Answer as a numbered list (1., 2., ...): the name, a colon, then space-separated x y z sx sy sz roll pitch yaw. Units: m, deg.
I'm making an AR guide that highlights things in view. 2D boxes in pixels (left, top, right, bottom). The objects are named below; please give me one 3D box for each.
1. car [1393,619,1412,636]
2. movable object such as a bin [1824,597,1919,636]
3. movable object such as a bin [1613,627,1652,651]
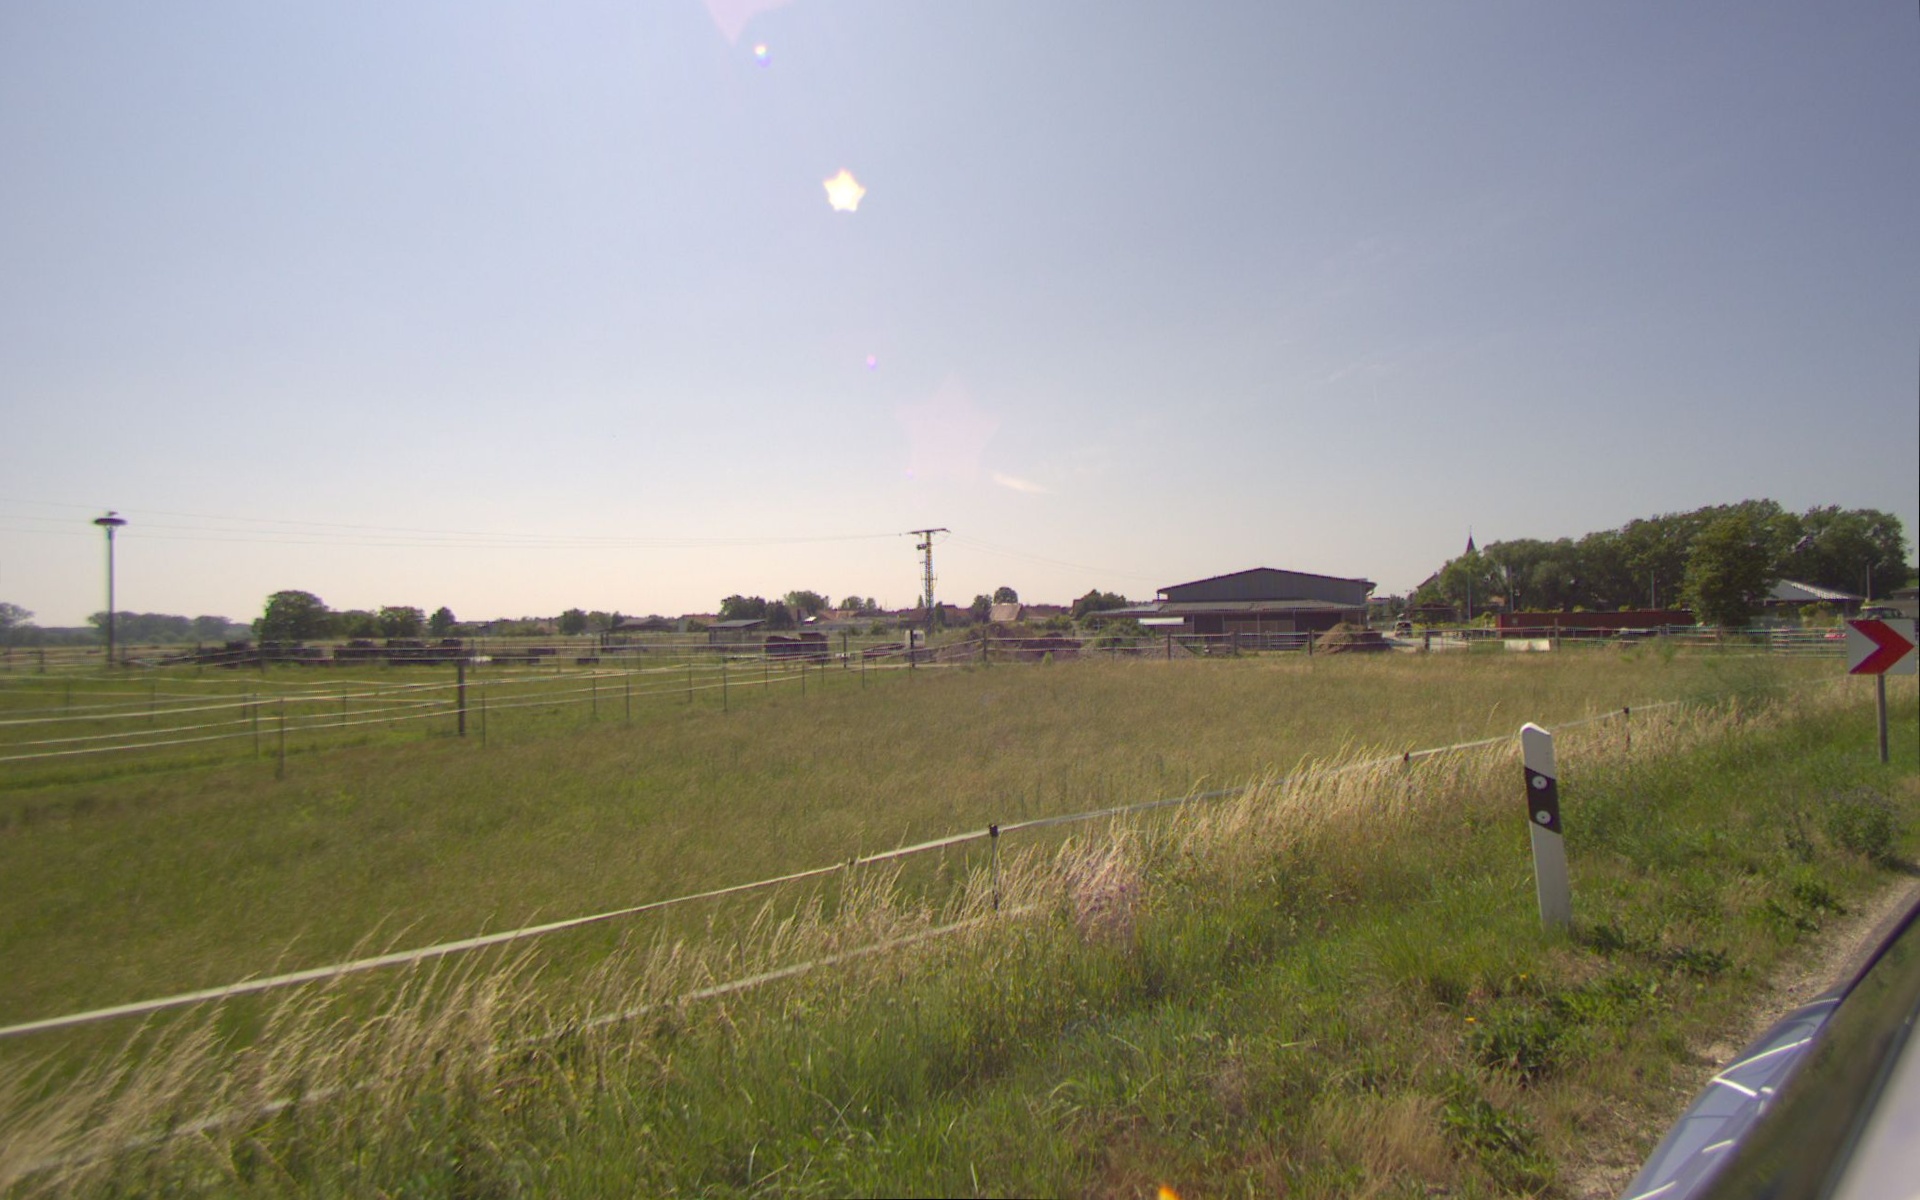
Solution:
1. car: 54.561 3.374 124.913 1.977 2.040 3.967 -4 -3 23
2. movable object such as a bin: 69.331 1.243 75.633 6.399 2.806 3.002 -1 -3 10
3. movable object such as a bin: 40.666 2.370 61.205 1.494 1.367 1.367 -2 -2 13
